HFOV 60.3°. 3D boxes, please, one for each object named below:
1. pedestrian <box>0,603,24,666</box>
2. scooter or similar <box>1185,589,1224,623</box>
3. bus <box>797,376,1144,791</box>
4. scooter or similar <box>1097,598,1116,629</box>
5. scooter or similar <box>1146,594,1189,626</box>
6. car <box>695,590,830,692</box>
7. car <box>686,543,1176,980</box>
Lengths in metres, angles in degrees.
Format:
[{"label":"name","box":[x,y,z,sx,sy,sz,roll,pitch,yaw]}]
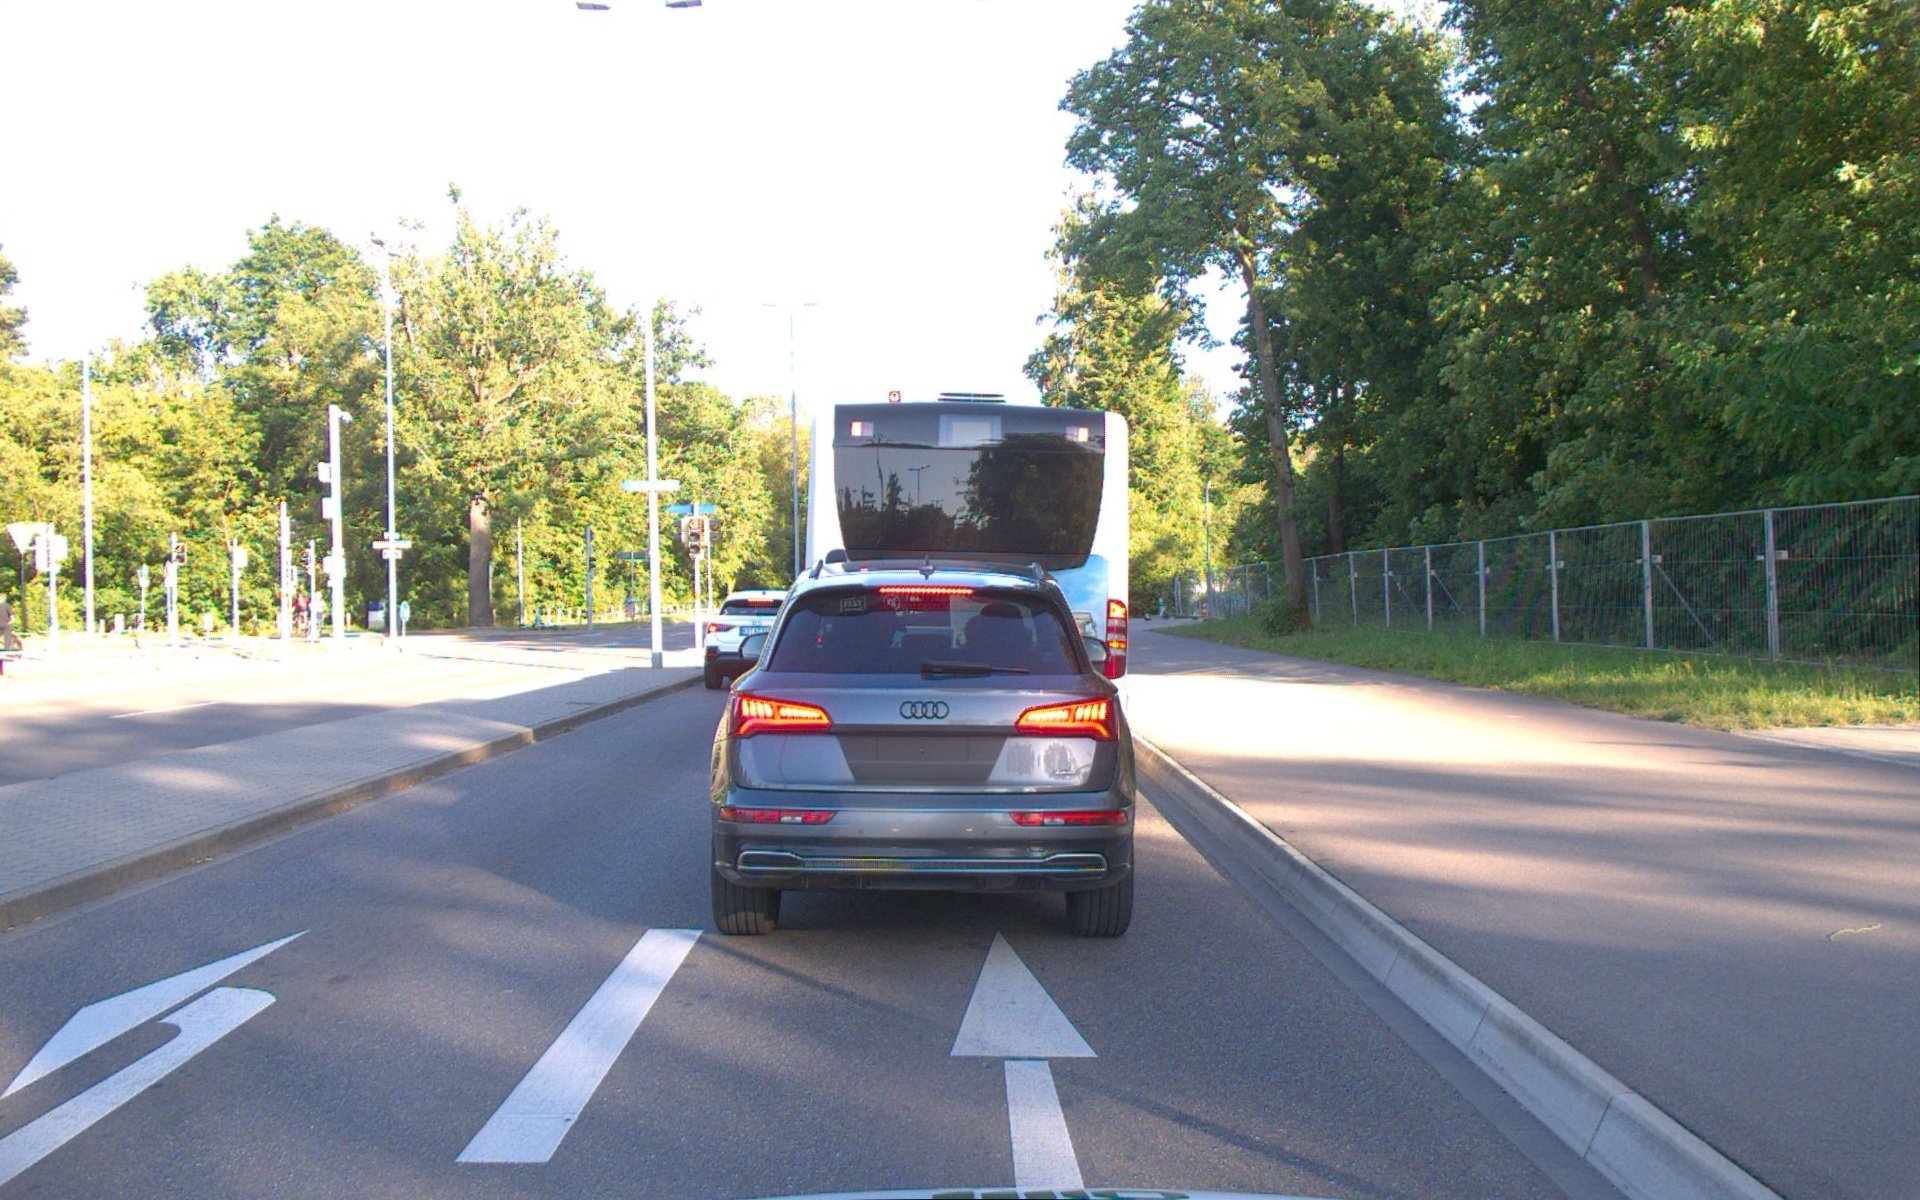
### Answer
[{"label":"pedestrian","box":[-24.128,0.872,41.865,0.643,1.587,0.531,-1,0,-43]},{"label":"scooter or similar","box":[11.727,0.315,79.396,0.535,1.594,1.993,-2,0,-40]},{"label":"bus","box":[0.016,-0.094,16.844,2.542,3.041,9.324,0,0,-1]},{"label":"scooter or similar","box":[7.156,0.663,80.757,0.498,1.469,2.020,-2,0,-6]},{"label":"scooter or similar","box":[9.784,0.476,78.071,1.991,1.469,0.601,-2,0,-26]},{"label":"car","box":[-3.189,0.618,27.442,1.799,1.545,3.999,-1,0,-1]},{"label":"car","box":[-0.136,0.613,8.341,1.860,1.660,3.999,1,0,-1]}]
